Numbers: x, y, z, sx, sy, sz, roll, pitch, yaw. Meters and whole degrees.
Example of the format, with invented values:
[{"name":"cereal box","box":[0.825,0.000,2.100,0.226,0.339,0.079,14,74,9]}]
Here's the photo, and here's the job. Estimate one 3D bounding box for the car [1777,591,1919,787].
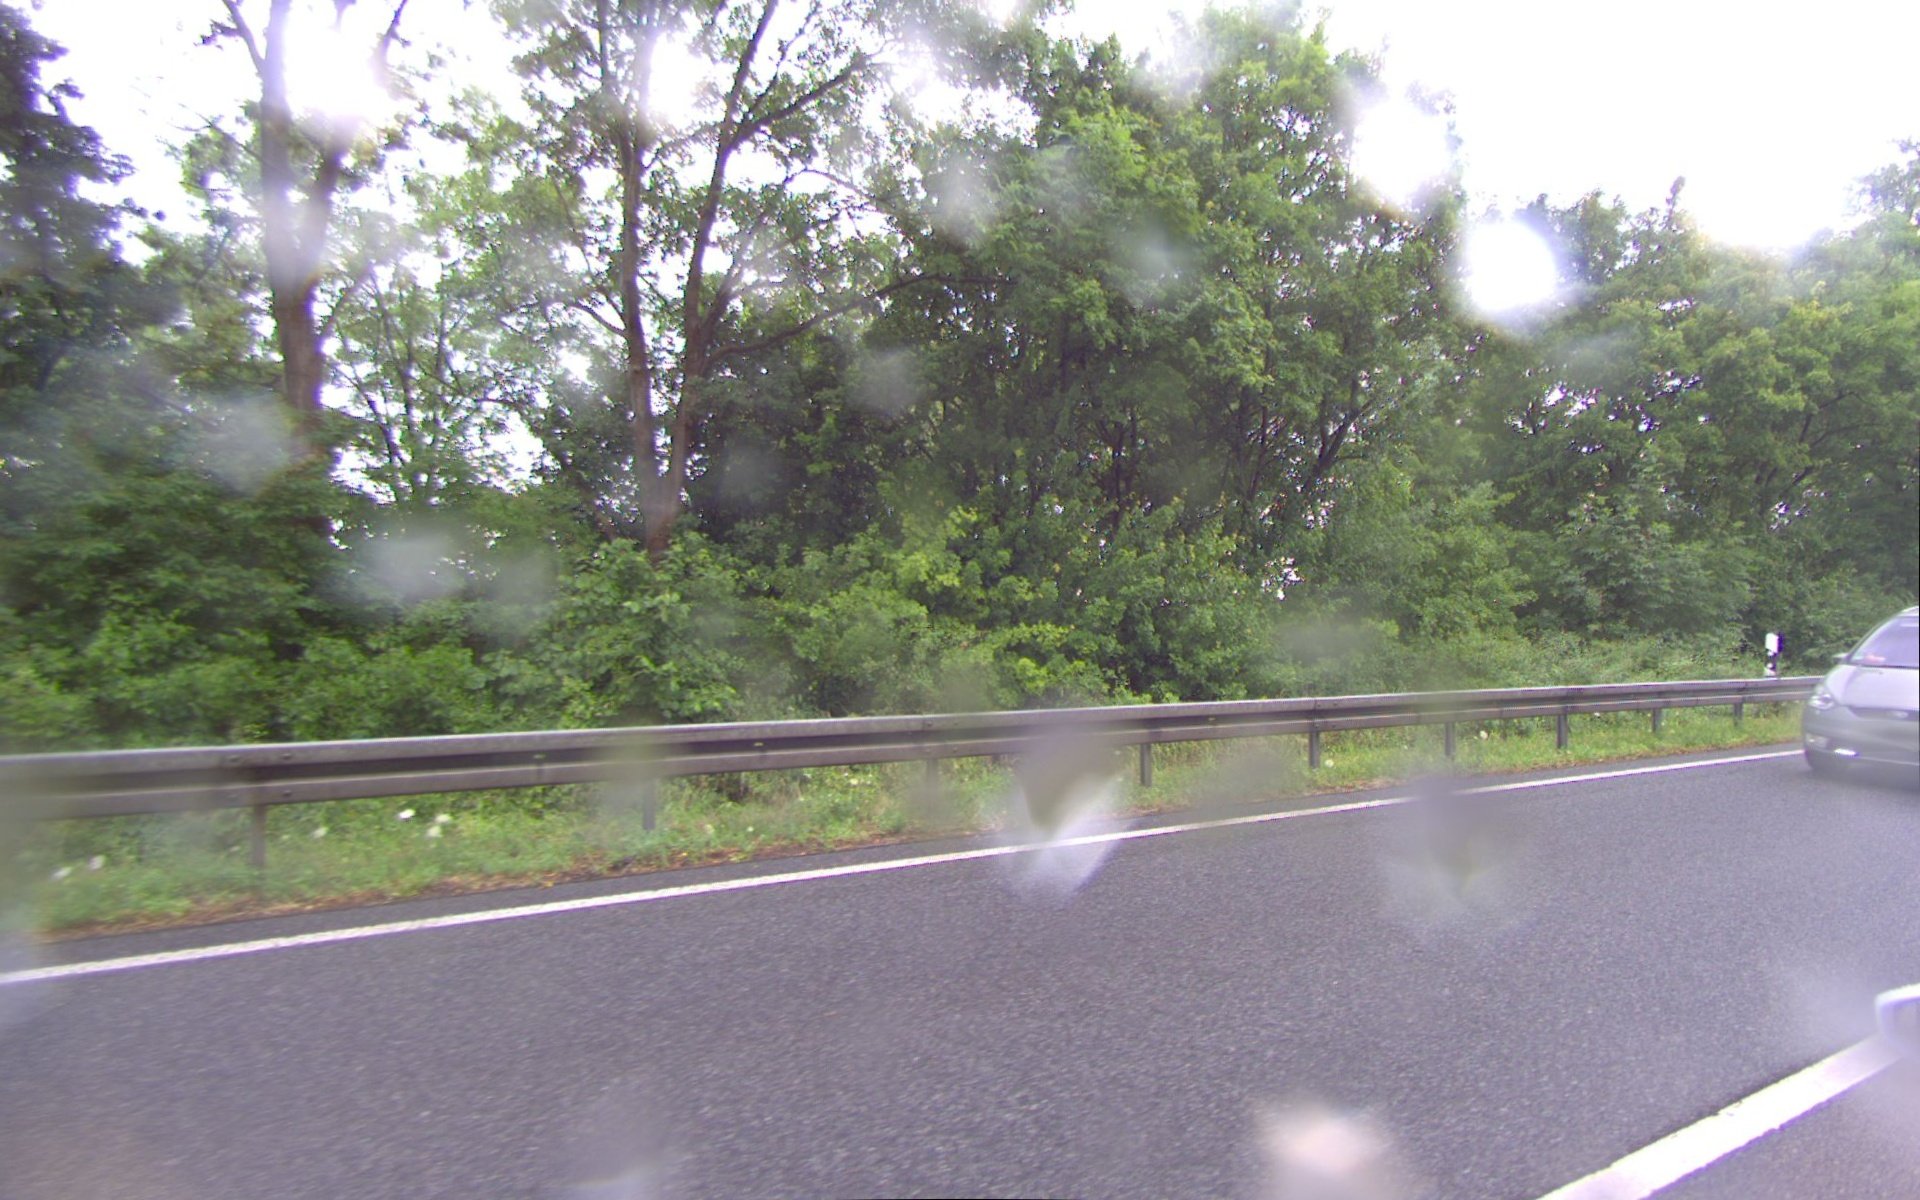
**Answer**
[{"name":"car","box":[10.315,0.846,10.023,4.567,1.708,1.807,2,0,-30]}]
